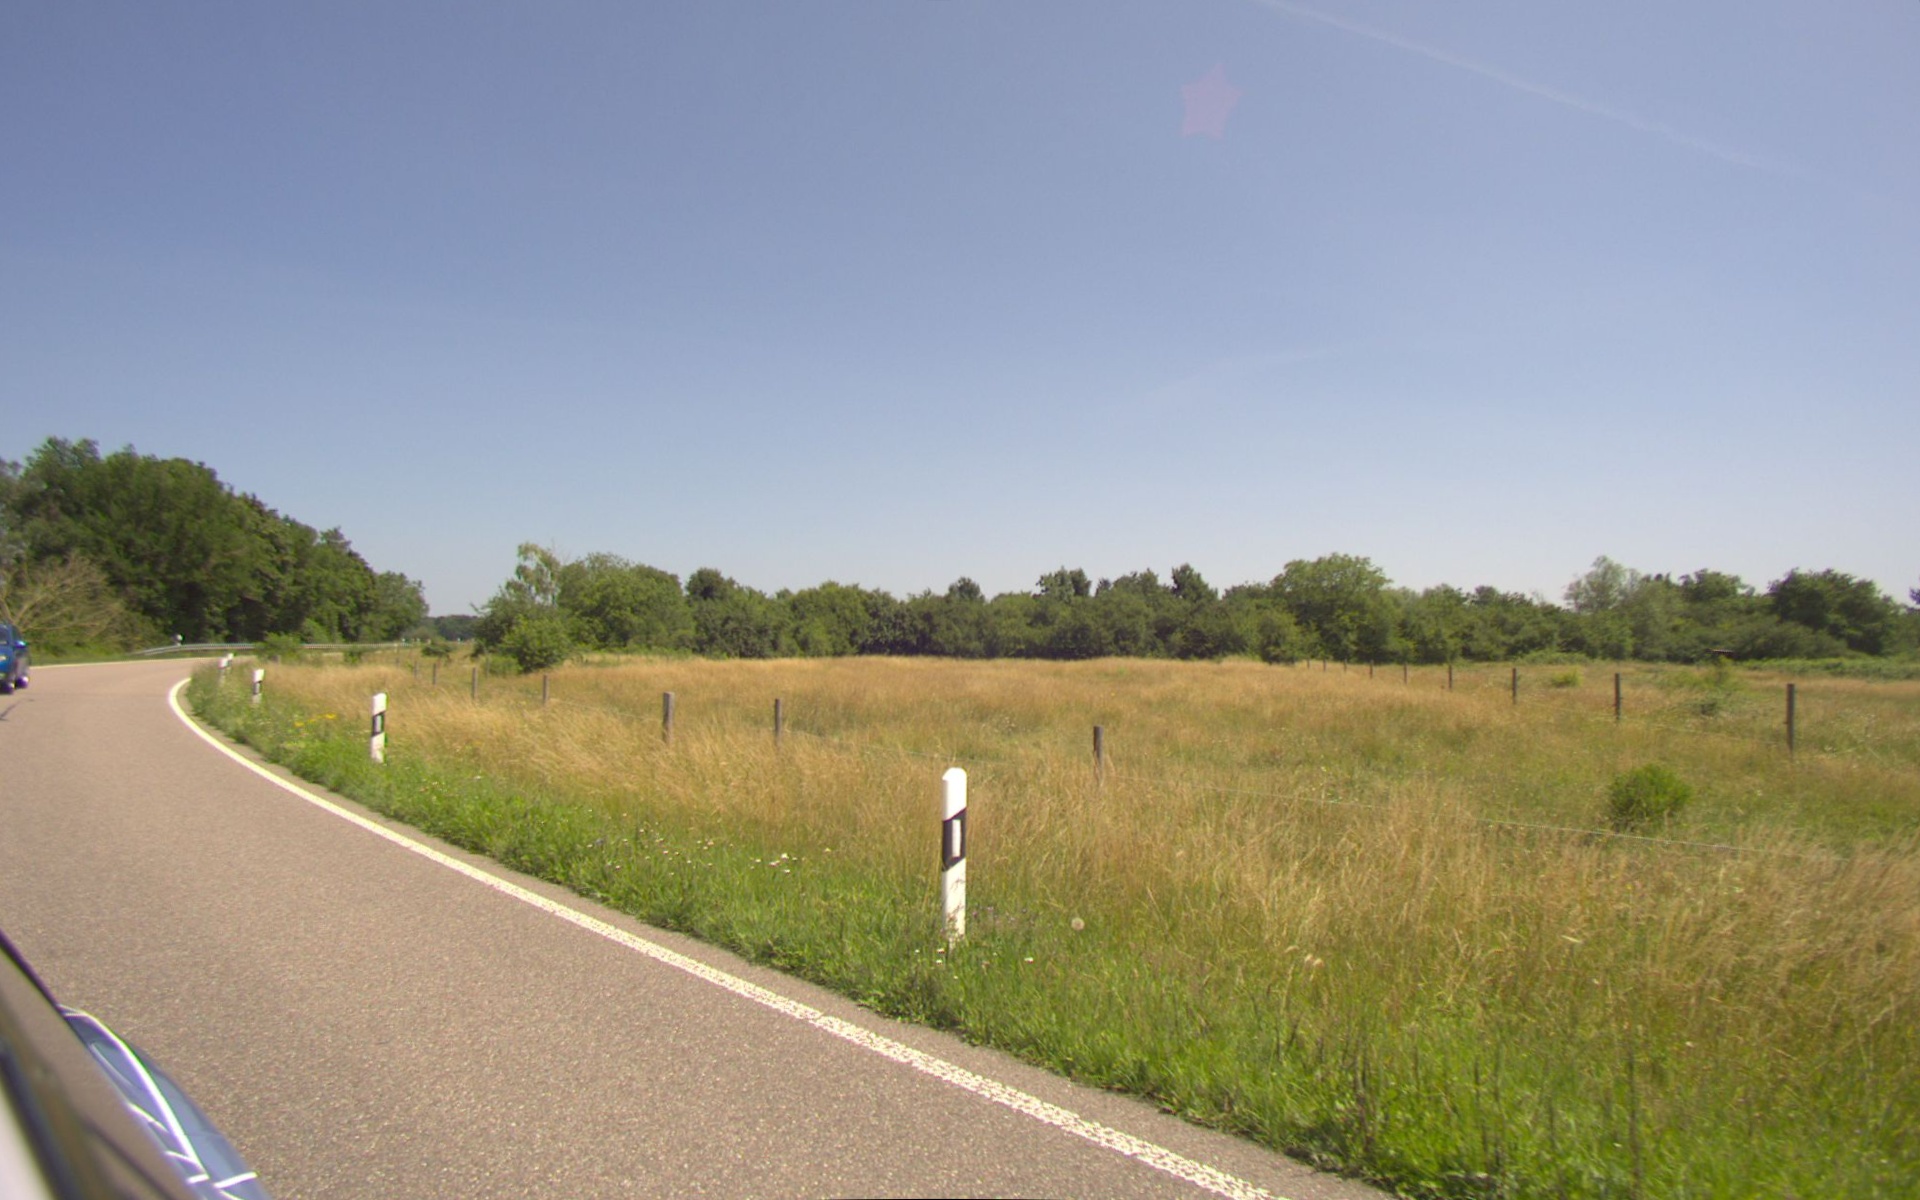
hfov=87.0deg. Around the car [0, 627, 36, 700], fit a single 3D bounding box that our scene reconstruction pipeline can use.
[{"bbox_3d":[-22.540,1.388,23.040,1.707,1.593,4.009,4,-4,-36],"label":"car"}]
